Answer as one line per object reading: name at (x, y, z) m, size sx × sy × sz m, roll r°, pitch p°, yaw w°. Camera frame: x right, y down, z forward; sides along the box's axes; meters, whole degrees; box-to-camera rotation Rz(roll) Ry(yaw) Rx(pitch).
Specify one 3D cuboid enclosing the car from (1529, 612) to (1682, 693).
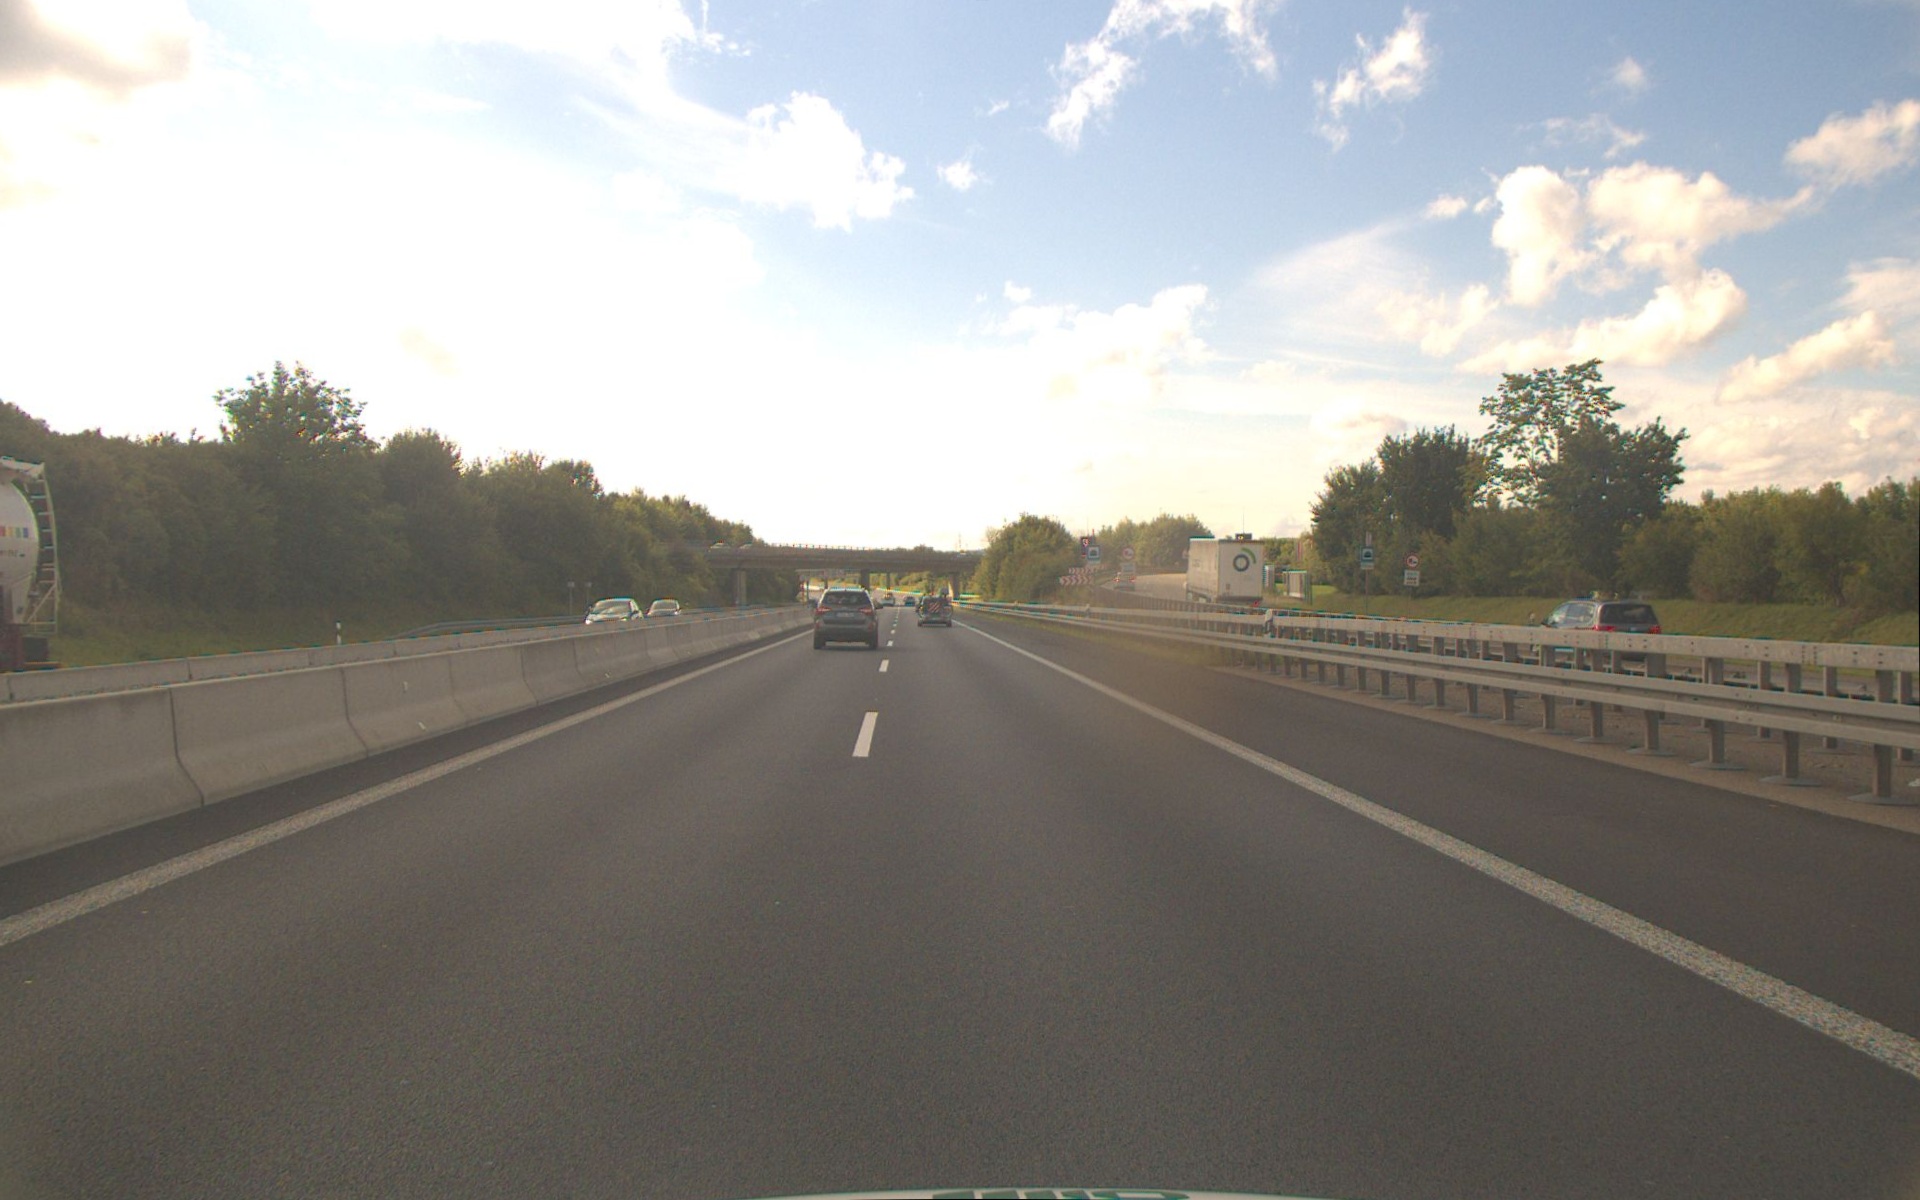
car at (15.372, 1.205, 39.612) m, size 1.953 × 1.747 × 3.998 m, roll -2°, pitch 0°, yaw -2°

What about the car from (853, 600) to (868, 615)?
car at (-13.943, 1.020, 232.002) m, size 1.953 × 2.049 × 3.998 m, roll -2°, pitch 0°, yaw -2°

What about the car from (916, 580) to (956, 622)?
car at (-1.265, 0.045, 86.511) m, size 1.953 × 2.117 × 3.998 m, roll -2°, pitch 0°, yaw -2°

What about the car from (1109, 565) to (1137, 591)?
car at (13.401, -1.811, 136.186) m, size 1.952 × 2.049 × 4.001 m, roll -2°, pitch 0°, yaw 2°

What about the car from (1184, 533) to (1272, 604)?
car at (15.086, -1.727, 93.741) m, size 3.504 × 3.741 × 7.546 m, roll -2°, pitch 0°, yaw -2°

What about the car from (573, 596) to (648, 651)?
car at (-12.582, 0.818, 59.767) m, size 1.771 × 1.864 × 4.395 m, roll -2°, pitch 0°, yaw -1°

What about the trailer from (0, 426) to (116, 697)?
trailer at (-15.275, -0.534, 21.805) m, size 2.658 × 3.955 × 11.158 m, roll -2°, pitch 0°, yaw -1°

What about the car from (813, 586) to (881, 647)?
car at (-3.256, 0.457, 48.049) m, size 1.714 × 1.659 × 3.608 m, roll -2°, pitch 0°, yaw -1°

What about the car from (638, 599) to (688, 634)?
car at (-15.682, 0.872, 87.503) m, size 1.953 × 1.747 × 3.998 m, roll -2°, pitch 0°, yaw -2°

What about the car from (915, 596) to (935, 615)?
car at (-3.633, 0.570, 171.548) m, size 1.935 × 1.810 × 4.118 m, roll -2°, pitch 0°, yaw -2°
